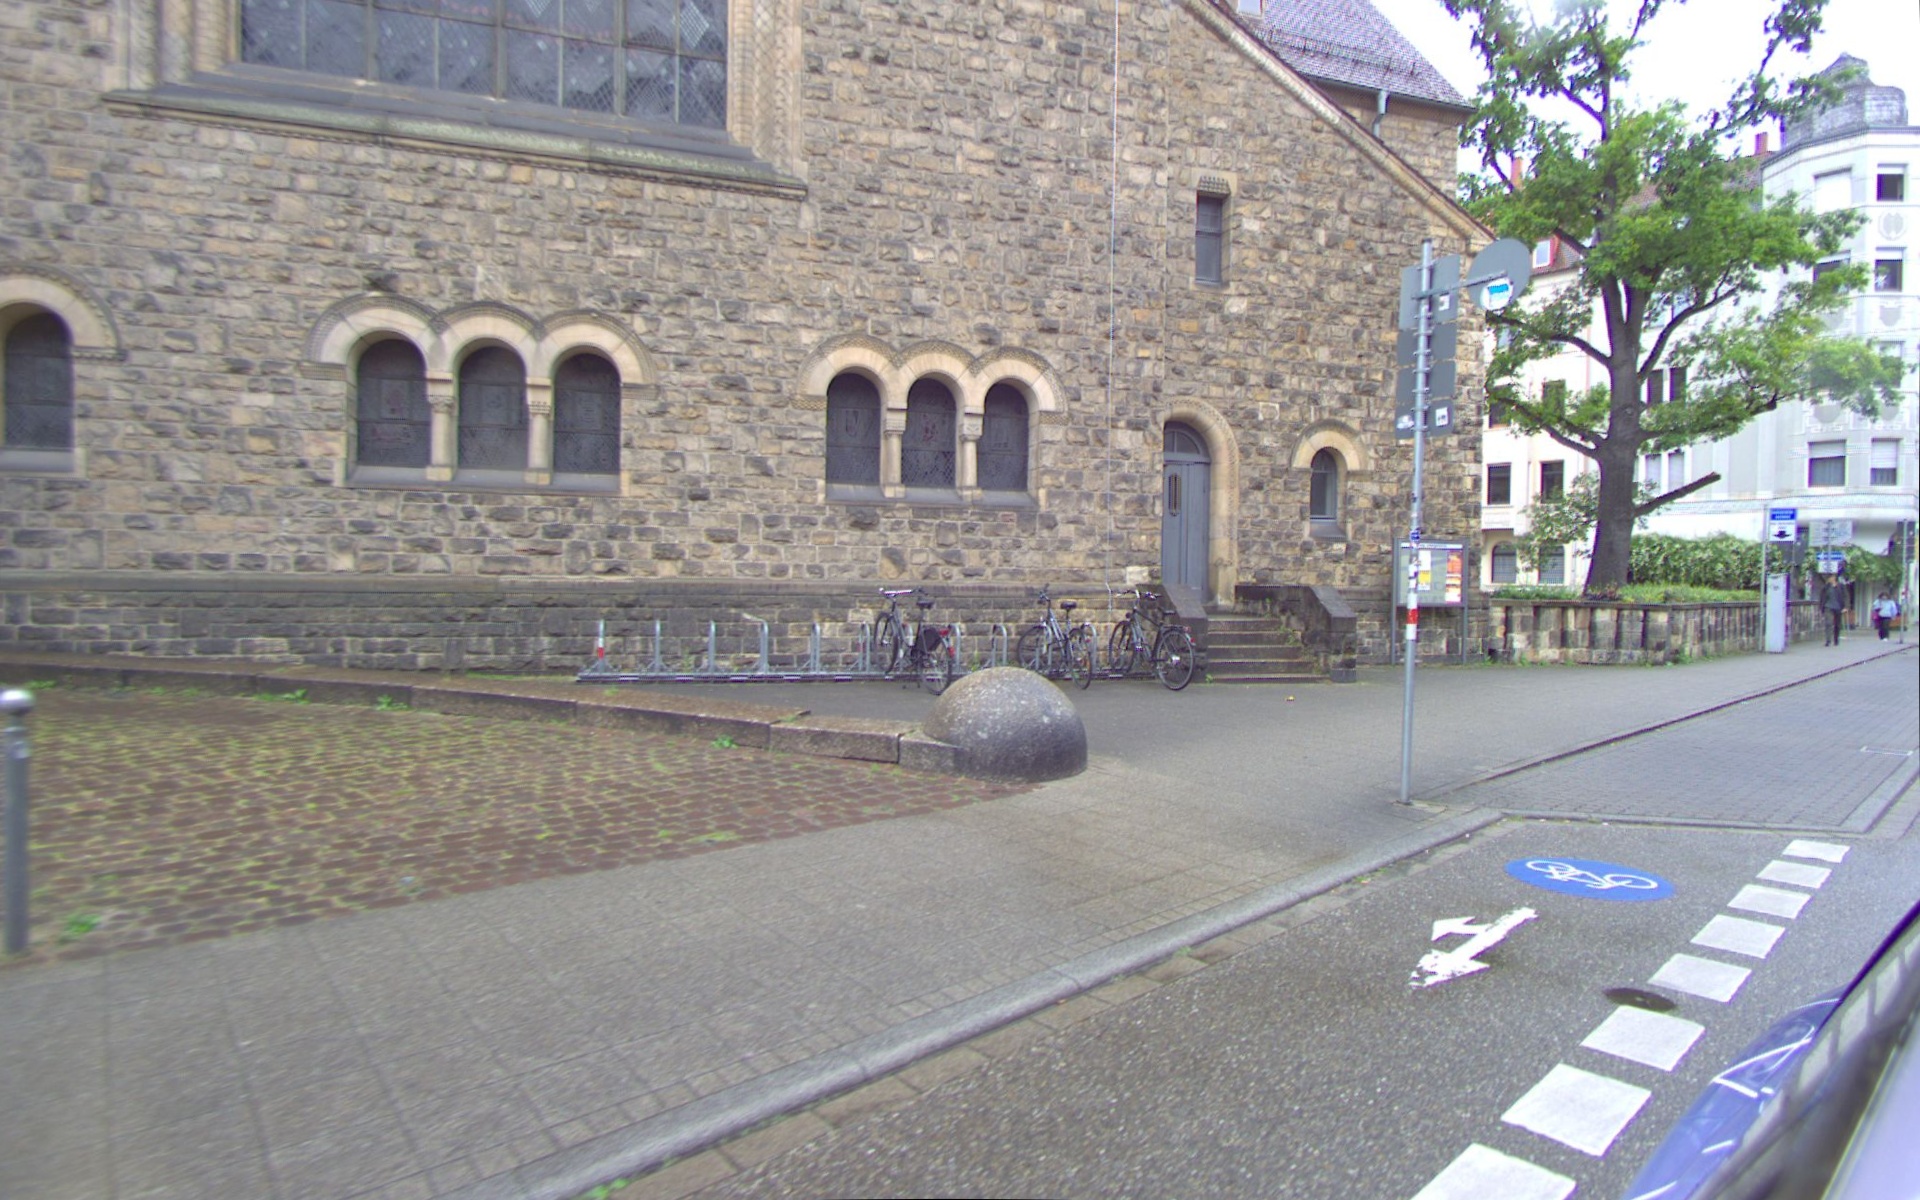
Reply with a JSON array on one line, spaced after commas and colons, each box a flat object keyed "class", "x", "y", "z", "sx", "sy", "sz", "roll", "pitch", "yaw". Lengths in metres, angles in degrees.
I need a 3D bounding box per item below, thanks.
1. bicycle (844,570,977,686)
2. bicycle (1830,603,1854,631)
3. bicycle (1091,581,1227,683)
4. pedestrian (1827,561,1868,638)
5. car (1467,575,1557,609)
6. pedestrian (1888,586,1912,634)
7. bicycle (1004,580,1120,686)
[{"class": "bicycle", "x": -0.610, "y": 0.258, "z": 11.405, "sx": 0.677, "sy": 1.118, "sz": 1.994, "roll": 0, "pitch": 4, "yaw": -29}, {"class": "bicycle", "x": 32.209, "y": 0.607, "z": 36.937, "sx": 1.989, "sy": 0.904, "sz": 0.390, "roll": -3, "pitch": 4, "yaw": -41}, {"class": "bicycle", "x": 2.389, "y": 0.342, "z": 12.430, "sx": 0.502, "sy": 1.067, "sz": 1.995, "roll": 0, "pitch": 3, "yaw": -26}, {"class": "pedestrian", "x": 22.459, "y": -0.022, "z": 25.602, "sx": 0.681, "sy": 1.896, "sz": 0.645, "roll": 0, "pitch": 2, "yaw": -41}, {"class": "car", "x": 24.997, "y": -0.378, "z": 45.894, "sx": 1.421, "sy": 1.426, "sz": 3.272, "roll": 0, "pitch": 2, "yaw": -38}, {"class": "pedestrian", "x": 29.474, "y": 0.309, "z": 31.729, "sx": 0.385, "sy": 1.479, "sz": 0.482, "roll": 0, "pitch": 2, "yaw": -41}, {"class": "bicycle", "x": 1.205, "y": 0.355, "z": 12.332, "sx": 0.550, "sy": 1.125, "sz": 1.718, "roll": 0, "pitch": 3, "yaw": -26}]
